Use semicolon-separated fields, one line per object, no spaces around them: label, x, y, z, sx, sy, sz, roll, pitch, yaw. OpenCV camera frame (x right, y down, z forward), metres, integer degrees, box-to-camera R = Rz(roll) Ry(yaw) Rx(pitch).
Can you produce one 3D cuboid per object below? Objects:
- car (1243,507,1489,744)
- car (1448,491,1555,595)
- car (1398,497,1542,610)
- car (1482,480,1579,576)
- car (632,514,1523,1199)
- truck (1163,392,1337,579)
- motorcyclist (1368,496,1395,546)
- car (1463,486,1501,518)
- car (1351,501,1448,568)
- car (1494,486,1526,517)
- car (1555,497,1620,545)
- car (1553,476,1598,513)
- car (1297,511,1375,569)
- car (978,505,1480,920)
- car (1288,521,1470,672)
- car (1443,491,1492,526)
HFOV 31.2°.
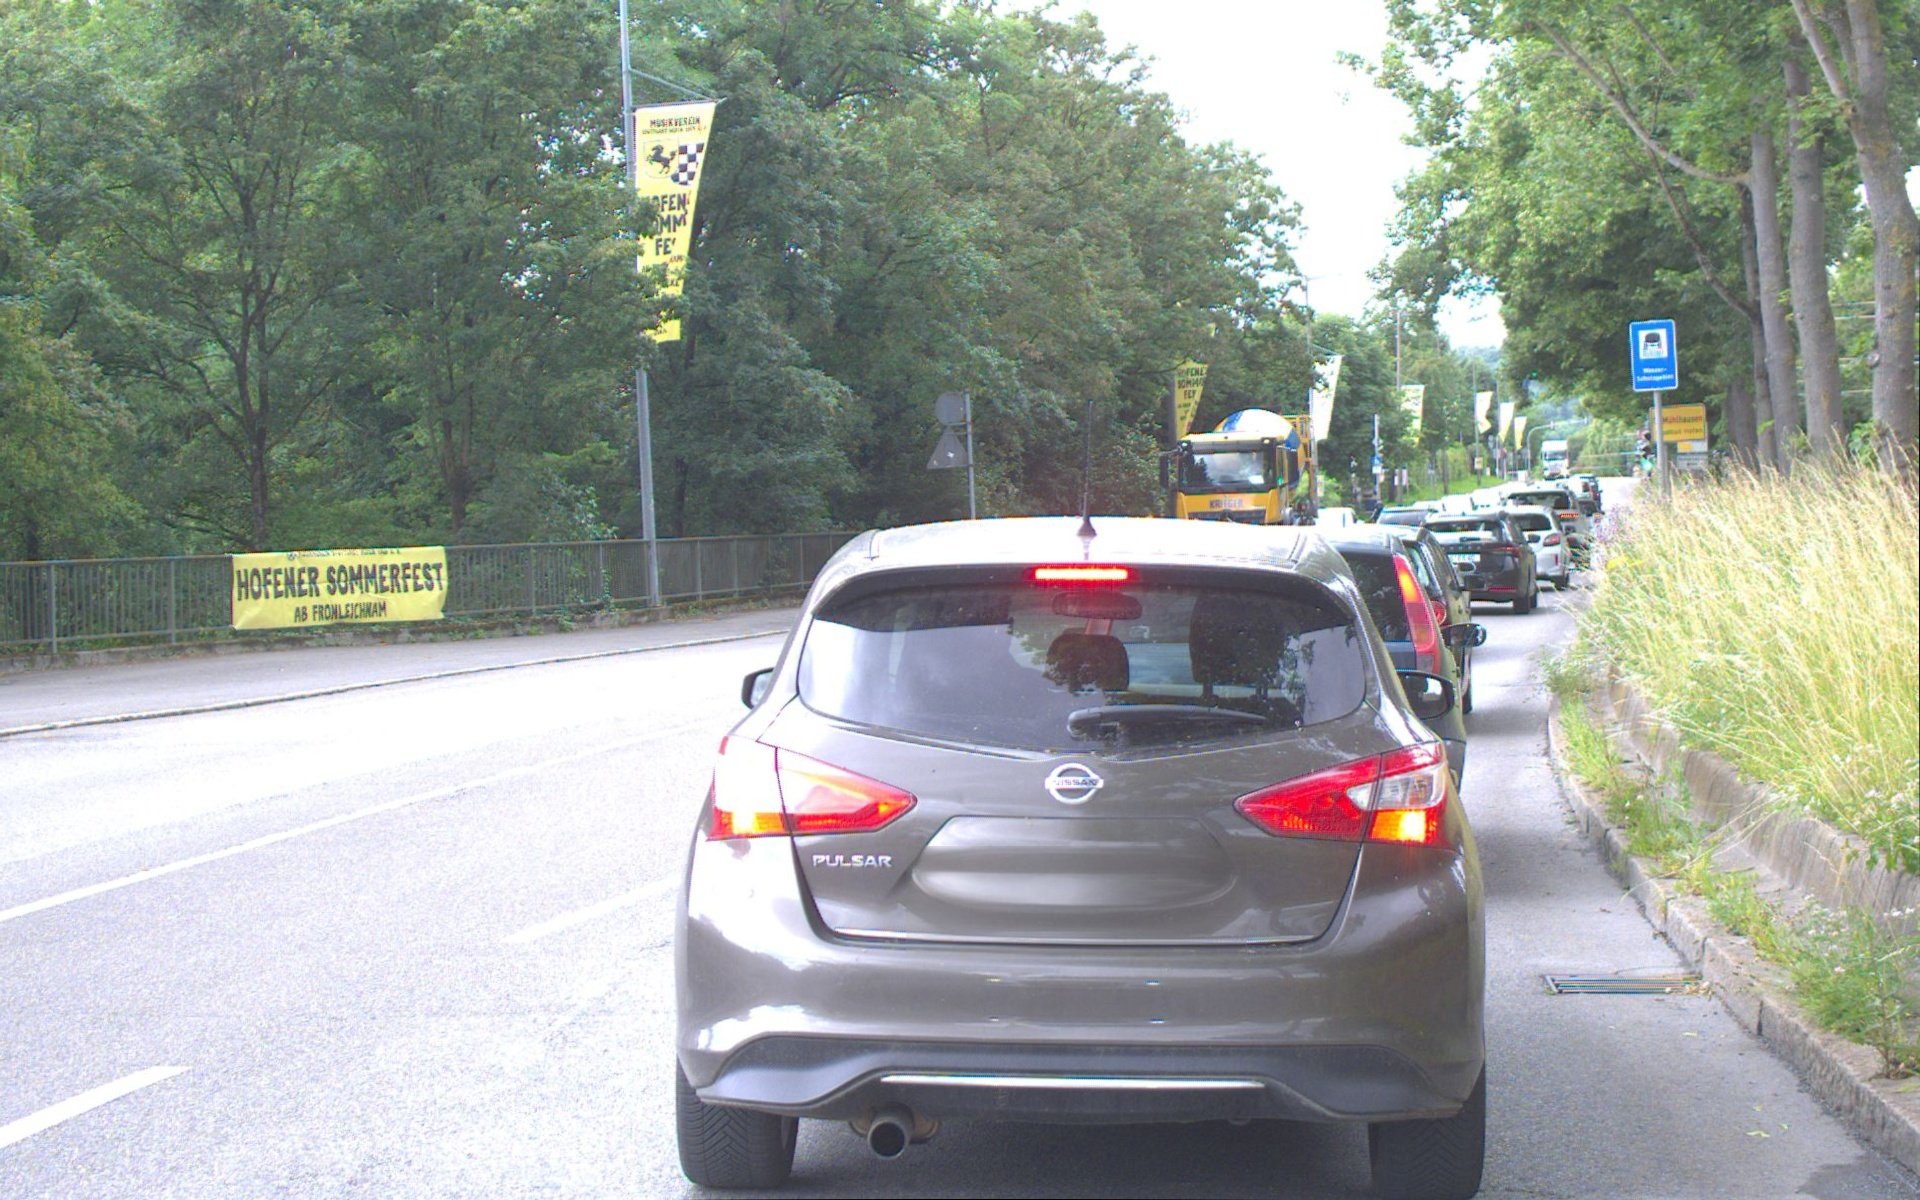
car;2.962;0.149;24.921;1.578;1.533;3.999;-2;0;7
car;9.607;-0.981;60.796;1.719;1.687;3.998;-2;-1;11
car;7.294;-0.659;48.920;1.805;1.535;3.998;0;1;12
car;12.509;-1.574;75.243;1.892;2.007;3.998;-1;1;12
car;0.418;0.570;8.854;1.775;1.489;3.999;0;0;6
truck;6.652;-2.526;77.373;2.656;3.925;10.106;0;1;12
motorcyclist;13.187;-2.478;107.462;0.745;1.533;0.790;-1;1;13
car;26.499;-4.952;174.305;1.753;1.415;3.998;-2;-1;10
car;10.341;-1.512;80.633;1.852;1.481;4.418;-1;0;12
car;33.062;-5.892;206.593;1.719;1.687;3.724;-2;-1;11
car;19.683;-2.482;107.830;1.892;1.440;3.805;-1;1;12
car;28.614;-4.894;159.775;1.892;1.647;3.998;-1;1;12
car;10.050;-1.618;91.607;1.767;1.474;3.999;0;1;10
car;1.169;0.425;15.100;1.893;1.568;3.999;-1;0;4
car;4.158;-0.057;33.765;1.501;1.359;3.586;-2;1;11
car;21.662;-3.907;146.697;1.818;1.457;3.998;-1;1;12
